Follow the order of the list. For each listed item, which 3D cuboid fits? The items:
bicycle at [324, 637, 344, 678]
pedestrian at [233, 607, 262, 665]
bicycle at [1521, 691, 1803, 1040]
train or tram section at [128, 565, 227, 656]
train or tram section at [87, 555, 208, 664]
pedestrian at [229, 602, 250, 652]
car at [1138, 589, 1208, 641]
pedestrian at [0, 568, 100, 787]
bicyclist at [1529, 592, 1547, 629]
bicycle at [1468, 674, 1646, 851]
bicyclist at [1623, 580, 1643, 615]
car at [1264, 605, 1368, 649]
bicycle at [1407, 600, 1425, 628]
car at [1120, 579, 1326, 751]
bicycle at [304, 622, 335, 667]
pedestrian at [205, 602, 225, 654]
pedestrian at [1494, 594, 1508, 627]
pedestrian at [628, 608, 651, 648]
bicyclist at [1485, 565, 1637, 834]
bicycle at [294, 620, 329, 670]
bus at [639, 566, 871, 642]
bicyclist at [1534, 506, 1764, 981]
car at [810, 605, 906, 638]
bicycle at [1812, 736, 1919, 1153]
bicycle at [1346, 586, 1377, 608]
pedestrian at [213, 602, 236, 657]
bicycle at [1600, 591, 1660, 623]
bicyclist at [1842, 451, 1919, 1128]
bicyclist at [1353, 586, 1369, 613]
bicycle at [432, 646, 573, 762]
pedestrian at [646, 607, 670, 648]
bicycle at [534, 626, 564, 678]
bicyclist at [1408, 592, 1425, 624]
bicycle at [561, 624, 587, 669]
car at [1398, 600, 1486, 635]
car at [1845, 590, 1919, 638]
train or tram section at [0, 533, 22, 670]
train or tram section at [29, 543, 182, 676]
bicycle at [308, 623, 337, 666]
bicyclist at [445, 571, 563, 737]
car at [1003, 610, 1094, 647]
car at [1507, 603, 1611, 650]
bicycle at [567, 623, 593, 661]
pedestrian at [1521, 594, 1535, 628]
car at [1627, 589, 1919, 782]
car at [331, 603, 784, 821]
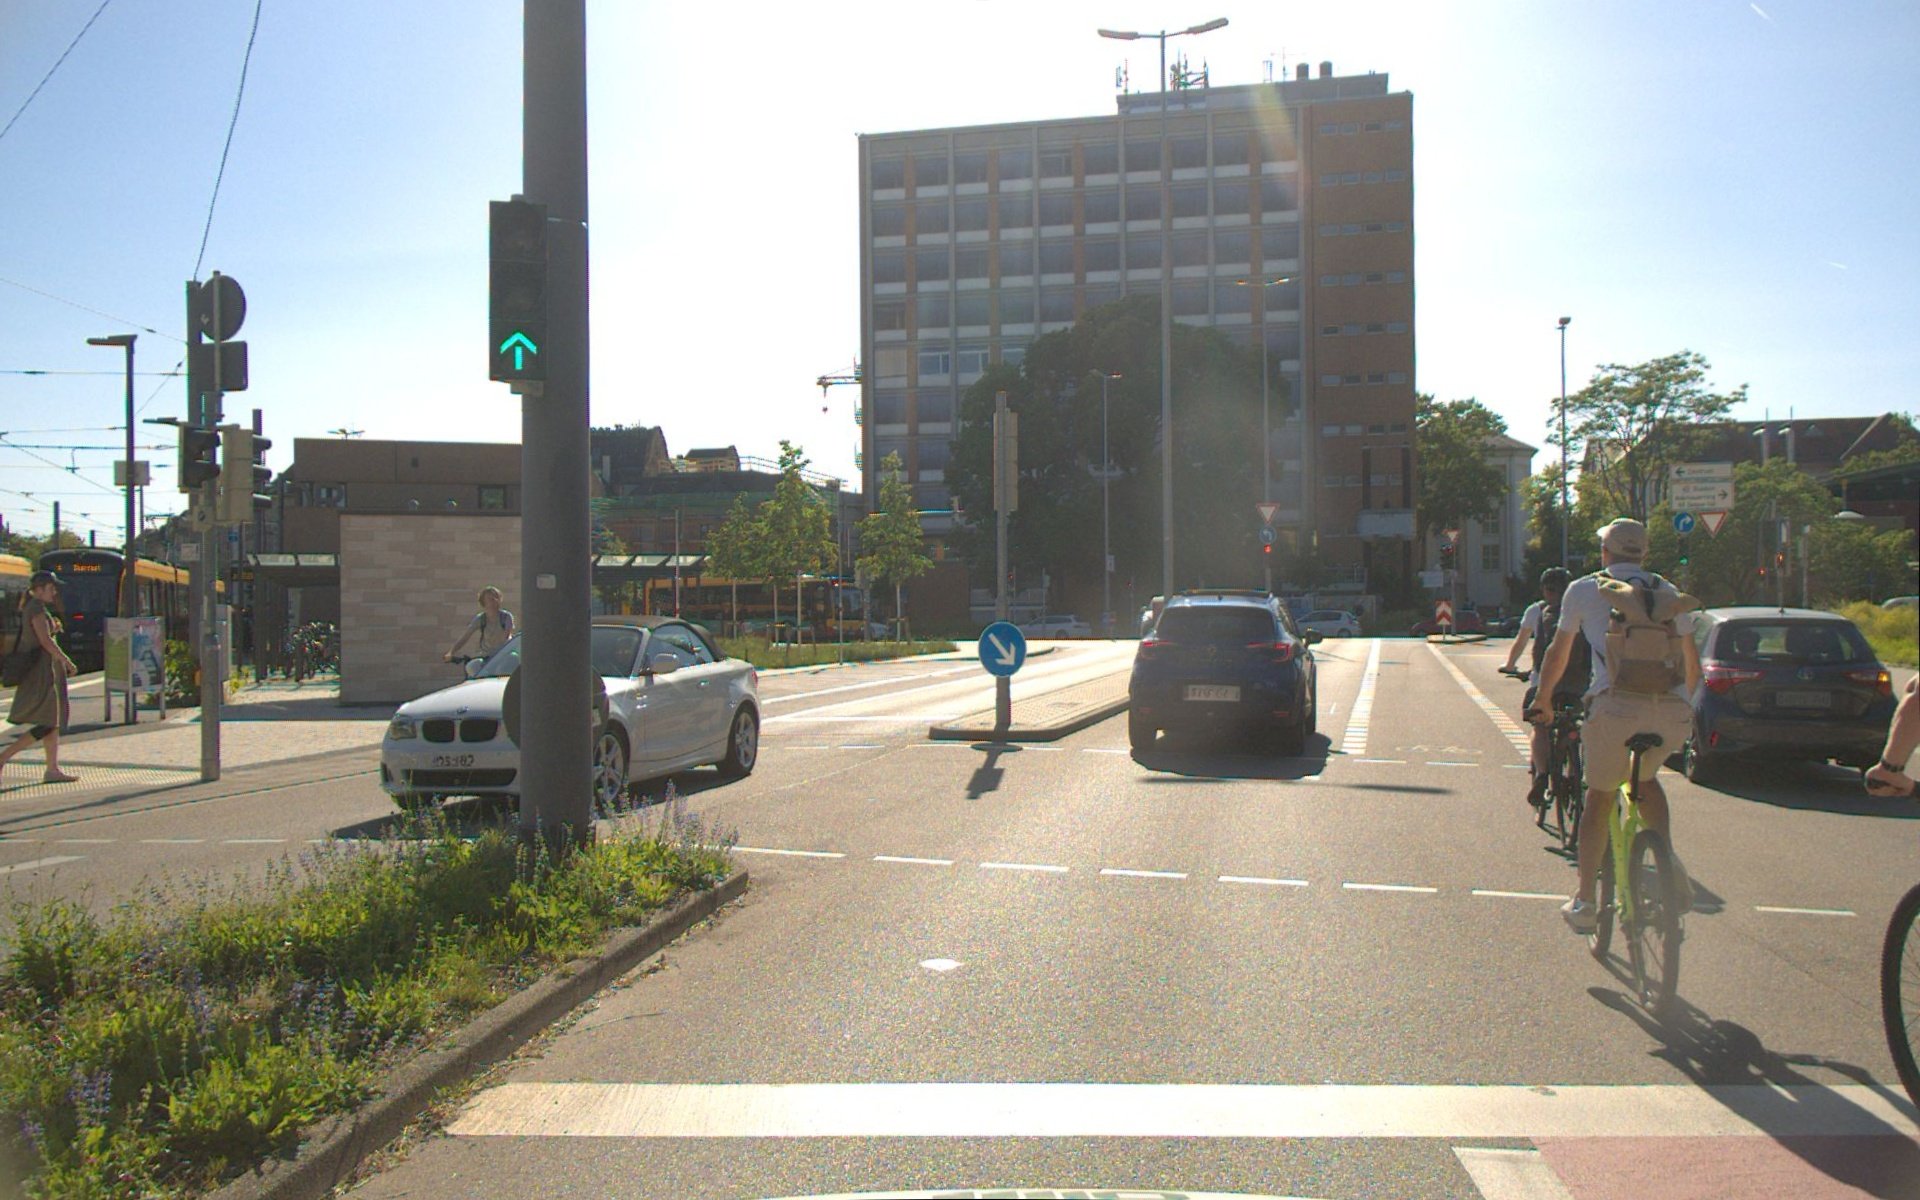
[{"bbox_3d":[-14.995,1.378,39.636,0.416,0.954,1.297,1,-1,-21],"label":"bicycle"},{"bbox_3d":[-23.757,1.198,55.157,0.835,1.916,0.755,1,-2,-22],"label":"pedestrian"},{"bbox_3d":[2.764,0.973,6.710,0.648,1.065,1.892,1,1,11],"label":"bicycle"},{"bbox_3d":[-32.795,0.441,69.691,2.829,3.569,10.478,0,0,-20],"label":"train or tram section"},{"bbox_3d":[-29.190,0.375,59.803,2.829,3.569,10.478,0,-1,-20],"label":"train or tram section"},{"bbox_3d":[-27.025,1.018,62.071,0.622,1.889,0.699,1,-2,-17],"label":"pedestrian"},{"bbox_3d":[7.148,0.485,55.133,1.779,1.596,4.253,-3,0,14],"label":"car"},{"bbox_3d":[-8.197,0.659,14.778,0.889,1.882,0.757,-1,2,-28],"label":"pedestrian"},{"bbox_3d":[29.968,0.563,85.732,0.839,1.879,0.851,-1,-2,24],"label":"bicyclist"},{"bbox_3d":[3.921,1.028,11.011,0.707,0.976,1.885,1,0,7],"label":"bicycle"},{"bbox_3d":[34.028,-0.109,83.637,0.840,1.722,0.884,0,-2,18],"label":"bicyclist"},{"bbox_3d":[16.975,1.293,78.840,4.557,2.049,1.999,0,-2,25],"label":"car"},{"bbox_3d":[26.090,0.809,94.521,0.863,1.568,2.812,0,-2,18],"label":"bicycle"},{"bbox_3d":[2.932,0.638,17.833,1.784,1.628,3.661,1,0,15],"label":"car"},{"bbox_3d":[-16.040,1.120,41.426,0.557,1.113,2.019,1,-2,-17],"label":"bicycle"},{"bbox_3d":[-27.538,1.041,61.155,0.624,1.889,0.697,1,-2,-26],"label":"pedestrian"},{"bbox_3d":[27.815,0.535,85.041,0.550,1.699,0.475,-1,-2,30],"label":"pedestrian"},{"bbox_3d":[-14.239,1.256,73.455,0.641,1.772,0.786,-1,-2,31],"label":"pedestrian"},{"bbox_3d":[3.893,0.614,10.787,0.706,1.654,1.056,1,0,7],"label":"bicyclist"},{"bbox_3d":[-14.849,1.025,37.894,0.557,1.113,2.019,1,-2,-17],"label":"bicycle"},{"bbox_3d":[-10.006,0.284,79.643,12.186,3.456,2.874,-1,-2,34],"label":"bus"},{"bbox_3d":[2.770,0.529,6.745,0.649,1.778,1.006,1,1,11],"label":"bicyclist"},{"bbox_3d":[-4.945,1.074,80.284,4.317,1.548,1.965,-1,-2,32],"label":"car"},{"bbox_3d":[2.939,0.983,4.451,0.598,1.096,1.831,0,-1,9],"label":"bicycle"},{"bbox_3d":[21.725,-0.155,89.502,1.631,1.112,0.611,-1,0,16],"label":"bicycle"},{"bbox_3d":[-25.274,1.014,56.855,0.595,1.889,0.790,1,-2,-18],"label":"pedestrian"},{"bbox_3d":[33.869,0.369,83.684,2.743,1.568,0.884,0,-2,18],"label":"bicycle"},{"bbox_3d":[2.928,0.507,4.388,0.733,1.807,1.015,0,-1,9],"label":"bicyclist"},{"bbox_3d":[21.720,-0.019,89.500,0.799,1.469,0.620,-1,0,16],"label":"bicyclist"},{"bbox_3d":[-4.764,1.061,17.356,0.757,1.099,2.036,-1,-1,5],"label":"bicycle"},{"bbox_3d":[-13.103,1.182,71.783,0.613,1.772,0.786,-1,-2,31],"label":"pedestrian"},{"bbox_3d":[-8.804,1.115,35.405,0.571,1.076,1.809,1,-2,-15],"label":"bicycle"},{"bbox_3d":[26.095,0.475,94.524,0.863,1.829,1.161,0,-2,18],"label":"bicyclist"},{"bbox_3d":[-9.661,1.166,41.370,0.571,1.107,2.050,1,-2,-15],"label":"bicycle"},{"bbox_3d":[23.322,0.862,80.025,3.818,1.614,1.878,-1,-2,26],"label":"car"},{"bbox_3d":[41.065,0.613,72.064,4.261,2.049,1.999,0,-2,25],"label":"car"},{"bbox_3d":[-25.260,-0.003,39.710,2.775,3.569,11.145,1,-1,-20],"label":"train or tram section"},{"bbox_3d":[-25.541,0.309,49.927,2.829,3.569,10.478,0,-1,-20],"label":"train or tram section"},{"bbox_3d":[-16.962,1.189,44.013,0.557,1.113,2.019,1,-2,-17],"label":"bicycle"},{"bbox_3d":[-4.776,0.562,17.398,0.861,1.673,1.061,-1,-1,4],"label":"bicyclist"},{"bbox_3d":[4.774,1.568,89.693,4.566,1.933,1.995,-1,-2,32],"label":"car"},{"bbox_3d":[26.869,1.212,74.193,4.284,2.049,1.999,0,-2,25],"label":"car"},{"bbox_3d":[-11.196,1.245,48.700,0.571,1.107,1.862,1,-2,-17],"label":"bicycle"},{"bbox_3d":[28.495,0.536,82.963,0.546,1.699,0.475,-1,-2,30],"label":"pedestrian"},{"bbox_3d":[7.516,0.729,15.459,1.718,1.569,3.661,0,-1,11],"label":"car"},{"bbox_3d":[-3.019,0.812,13.367,1.762,1.417,4.095,-4,-2,15],"label":"car"}]
